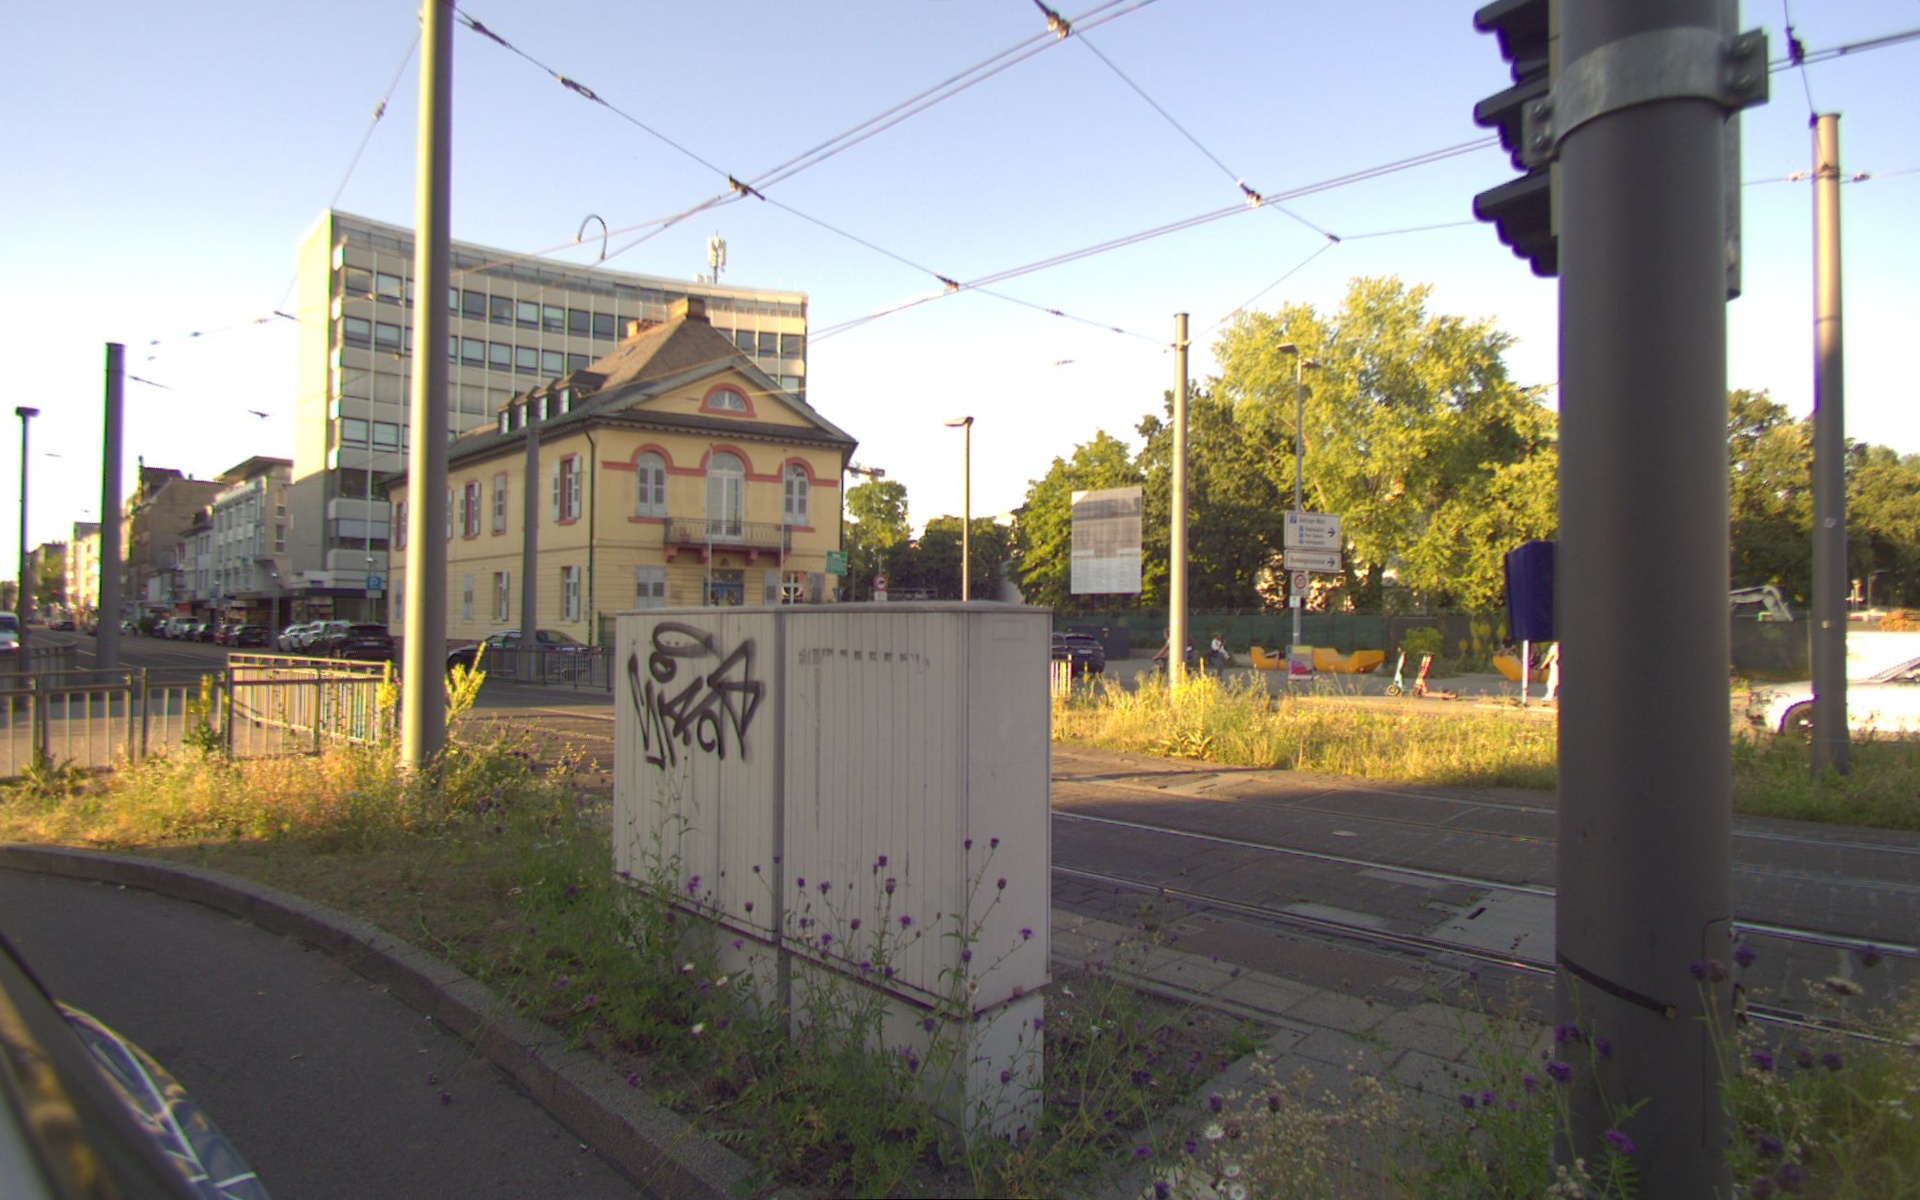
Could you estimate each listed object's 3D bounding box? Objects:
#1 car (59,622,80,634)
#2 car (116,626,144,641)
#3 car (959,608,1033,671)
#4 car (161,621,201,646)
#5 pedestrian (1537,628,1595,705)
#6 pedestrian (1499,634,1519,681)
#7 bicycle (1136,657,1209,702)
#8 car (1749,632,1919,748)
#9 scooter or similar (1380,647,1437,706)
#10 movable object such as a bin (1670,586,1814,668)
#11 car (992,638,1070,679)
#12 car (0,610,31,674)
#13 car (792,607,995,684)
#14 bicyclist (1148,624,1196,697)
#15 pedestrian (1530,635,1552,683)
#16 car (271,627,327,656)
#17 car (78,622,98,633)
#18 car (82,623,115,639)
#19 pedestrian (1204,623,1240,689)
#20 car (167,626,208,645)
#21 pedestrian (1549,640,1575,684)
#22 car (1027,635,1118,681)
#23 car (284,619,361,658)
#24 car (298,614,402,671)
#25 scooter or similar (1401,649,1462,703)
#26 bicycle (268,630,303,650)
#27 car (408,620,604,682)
[{"bbox_3d":[-119.866,3.710,136.191,1.970,1.564,4.003,2,-3,-44],"label":"car"},{"bbox_3d":[-89.702,3.587,109.343,1.970,1.556,4.882,1,-2,-44],"label":"car"},{"bbox_3d":[1.526,1.788,45.602,2.063,2.650,5.438,1,-2,-12],"label":"car"},{"bbox_3d":[-66.104,2.827,85.832,5.164,1.992,1.933,-2,-3,44],"label":"car"},{"bbox_3d":[15.145,1.642,25.289,0.871,1.882,0.978,2,-3,-37],"label":"pedestrian"},{"bbox_3d":[20.109,2.102,37.070,0.597,1.671,0.531,-1,-3,26],"label":"pedestrian"},{"bbox_3d":[5.089,1.882,24.259,1.616,1.016,0.661,-1,-3,29],"label":"bicycle"},{"bbox_3d":[12.938,1.154,13.077,4.201,1.459,1.651,-1,-3,43],"label":"car"},{"bbox_3d":[11.430,1.943,25.820,1.236,1.457,0.518,1,-2,-8],"label":"scooter or similar"},{"bbox_3d":[32.959,1.151,42.766,1.966,3.254,4.357,2,-2,-31],"label":"movable object such as a bin"},{"bbox_3d":[2.725,2.273,40.055,1.967,1.497,4.104,1,-2,-13],"label":"car"},{"bbox_3d":[-29.404,1.234,30.385,4.002,1.830,1.971,-1,-3,45],"label":"car"},{"bbox_3d":[-1.453,0.981,22.498,4.083,1.597,1.986,0,-2,21],"label":"car"},{"bbox_3d":[5.084,1.439,24.288,0.976,1.701,0.658,-1,-3,30],"label":"bicyclist"},{"bbox_3d":[20.622,2.091,35.926,0.599,1.671,0.529,-1,-3,37],"label":"pedestrian"},{"bbox_3d":[-35.932,2.260,55.004,1.791,1.523,4.436,3,-3,-43],"label":"car"},{"bbox_3d":[-128.362,4.107,148.953,1.970,1.564,4.002,2,-2,-45],"label":"car"},{"bbox_3d":[-83.960,2.999,98.647,4.031,1.523,1.718,-1,-3,40],"label":"car"},{"bbox_3d":[7.704,1.643,29.762,0.717,1.907,0.768,1,-2,-21],"label":"pedestrian"},{"bbox_3d":[-61.066,2.810,79.985,4.560,1.477,1.971,-2,-2,44],"label":"car"},{"bbox_3d":[21.153,2.167,35.560,0.625,1.507,0.632,-2,-3,44],"label":"pedestrian"},{"bbox_3d":[3.866,2.004,35.431,1.967,1.497,4.010,1,-2,-13],"label":"car"},{"bbox_3d":[-31.969,1.906,50.701,4.491,1.799,1.795,-1,1,38],"label":"car"},{"bbox_3d":[-22.079,1.523,36.554,4.812,1.916,1.971,-1,-3,43],"label":"car"},{"bbox_3d":[11.648,1.875,25.012,1.240,1.282,0.516,0,-2,6],"label":"scooter or similar"},{"bbox_3d":[-49.382,2.930,74.101,0.834,1.436,1.946,-2,-3,43],"label":"bicycle"},{"bbox_3d":[-12.430,1.388,27.953,4.520,1.597,2.001,1,-2,-2],"label":"car"}]
